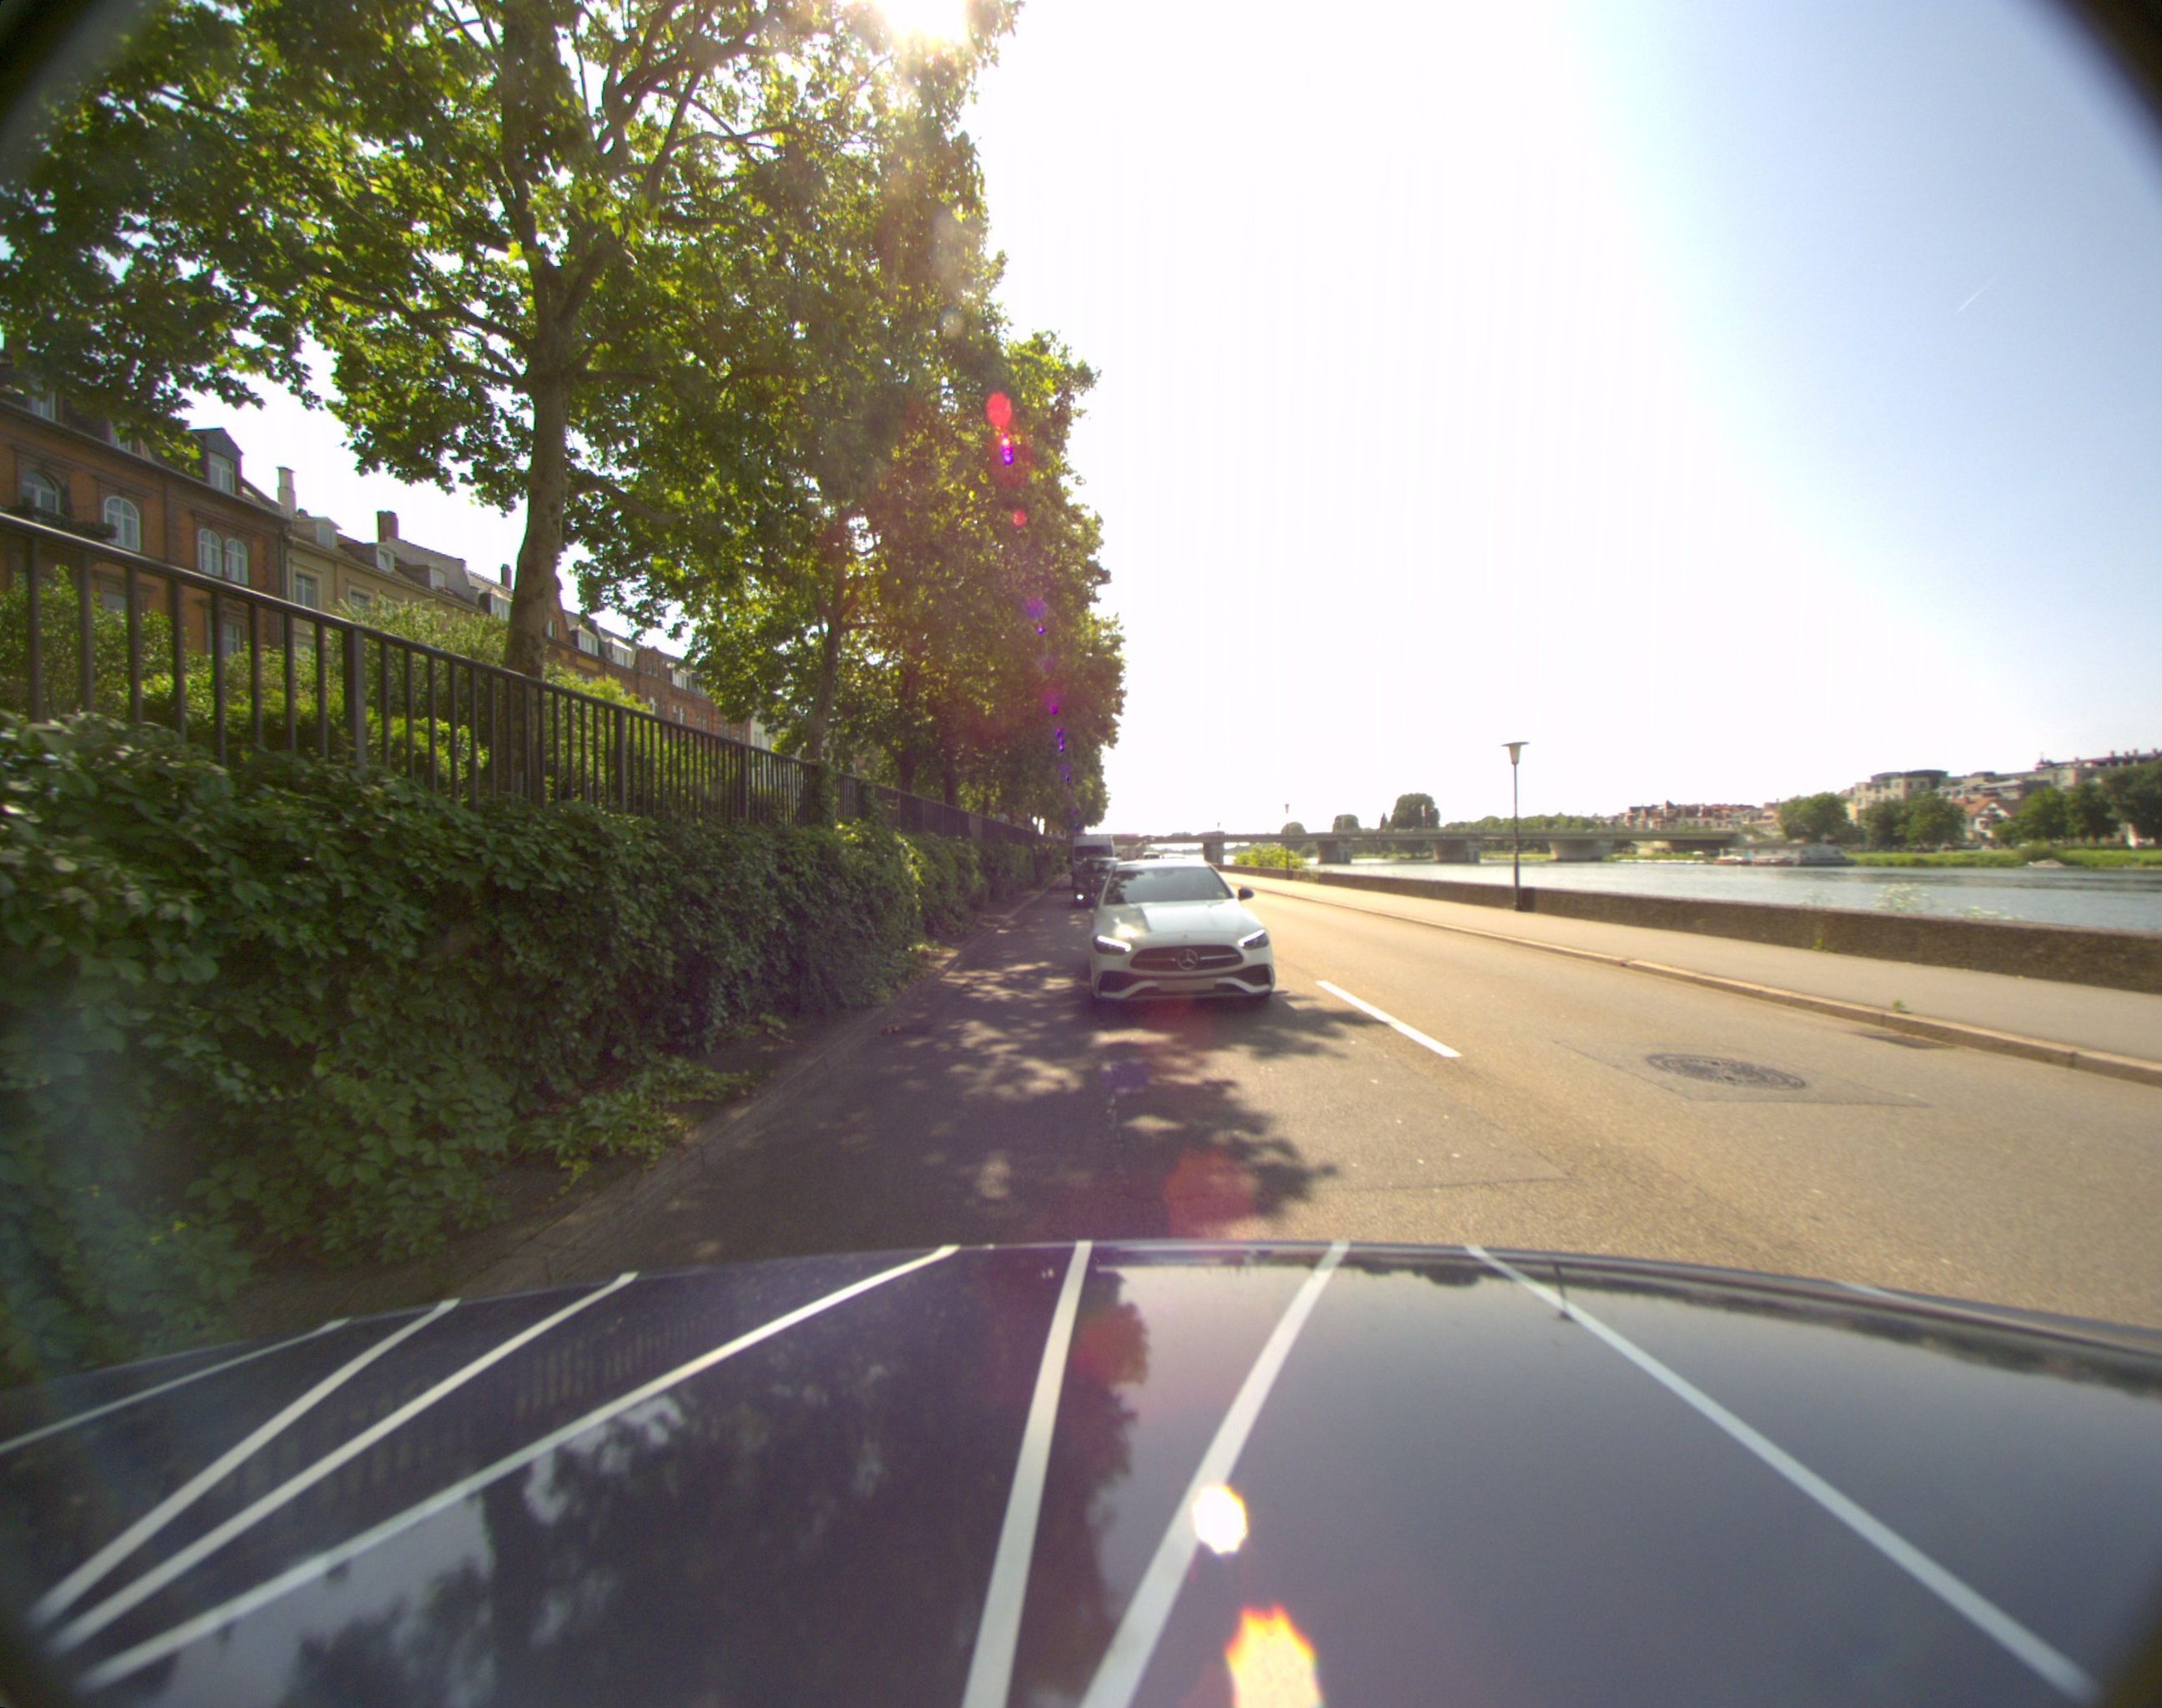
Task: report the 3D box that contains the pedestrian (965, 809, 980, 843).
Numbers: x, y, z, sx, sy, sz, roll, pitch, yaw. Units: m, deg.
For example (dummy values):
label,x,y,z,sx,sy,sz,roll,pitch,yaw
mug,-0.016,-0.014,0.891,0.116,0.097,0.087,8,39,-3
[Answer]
label,x,y,z,sx,sy,sz,roll,pitch,yaw
pedestrian,-4.476,-1.152,31.425,0.586,1.411,0.589,0,1,-7

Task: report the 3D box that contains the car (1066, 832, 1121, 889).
label,x,y,z,sx,sy,sz,roll,pitch,yaw
car,0.574,0.265,35.854,2.351,2.429,6.208,0,0,0

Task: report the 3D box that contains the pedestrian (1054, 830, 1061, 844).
label,x,y,z,sx,sy,sz,roll,pitch,yaw
pedestrian,-2.739,-1.983,87.256,0.738,1.582,0.811,0,1,0

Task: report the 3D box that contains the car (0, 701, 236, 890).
label,x,y,z,sx,sy,sz,roll,pitch,yaw
car,-8.951,-0.445,5.388,3.737,1.228,1.673,2,0,-8

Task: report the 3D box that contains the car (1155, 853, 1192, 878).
label,x,y,z,sx,sy,sz,roll,pitch,yaw
car,5.581,0.651,46.114,1.736,1.433,4.045,1,0,0

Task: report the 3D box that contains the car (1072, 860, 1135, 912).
label,x,y,z,sx,sy,sz,roll,pitch,yaw
car,0.626,0.909,23.365,1.756,1.385,4.619,0,0,0

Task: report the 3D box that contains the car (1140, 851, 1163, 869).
label,x,y,z,sx,sy,sz,roll,pitch,yaw
car,6.371,0.519,68.850,1.736,1.640,4.177,1,0,0

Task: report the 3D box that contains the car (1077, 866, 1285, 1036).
label,x,y,z,sx,sy,sz,roll,pitch,yaw
car,0.953,0.911,9.124,1.830,1.411,4.552,-2,0,1

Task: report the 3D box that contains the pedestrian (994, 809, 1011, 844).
label,x,y,z,sx,sy,sz,roll,pitch,yaw
pedestrian,-3.513,-1.219,33.888,0.666,1.582,0.651,0,1,0

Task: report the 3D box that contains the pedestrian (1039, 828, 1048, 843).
label,x,y,z,sx,sy,sz,roll,pitch,yaw
pedestrian,-3.206,-1.560,64.963,0.713,1.236,0.742,0,1,0

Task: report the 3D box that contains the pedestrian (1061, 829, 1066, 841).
label,x,y,z,sx,sy,sz,roll,pitch,yaw
pedestrian,-2.263,-2.420,97.588,0.666,1.582,0.765,0,1,0

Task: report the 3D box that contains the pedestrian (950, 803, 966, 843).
label,x,y,z,sx,sy,sz,roll,pitch,yaw
pedestrian,-5.078,-1.285,31.412,0.649,1.630,0.626,0,1,-7

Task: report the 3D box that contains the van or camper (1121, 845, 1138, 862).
label,x,y,z,sx,sy,sz,roll,pitch,yaw
van or camper,6.843,-0.076,108.110,2.082,2.384,5.385,1,0,1
